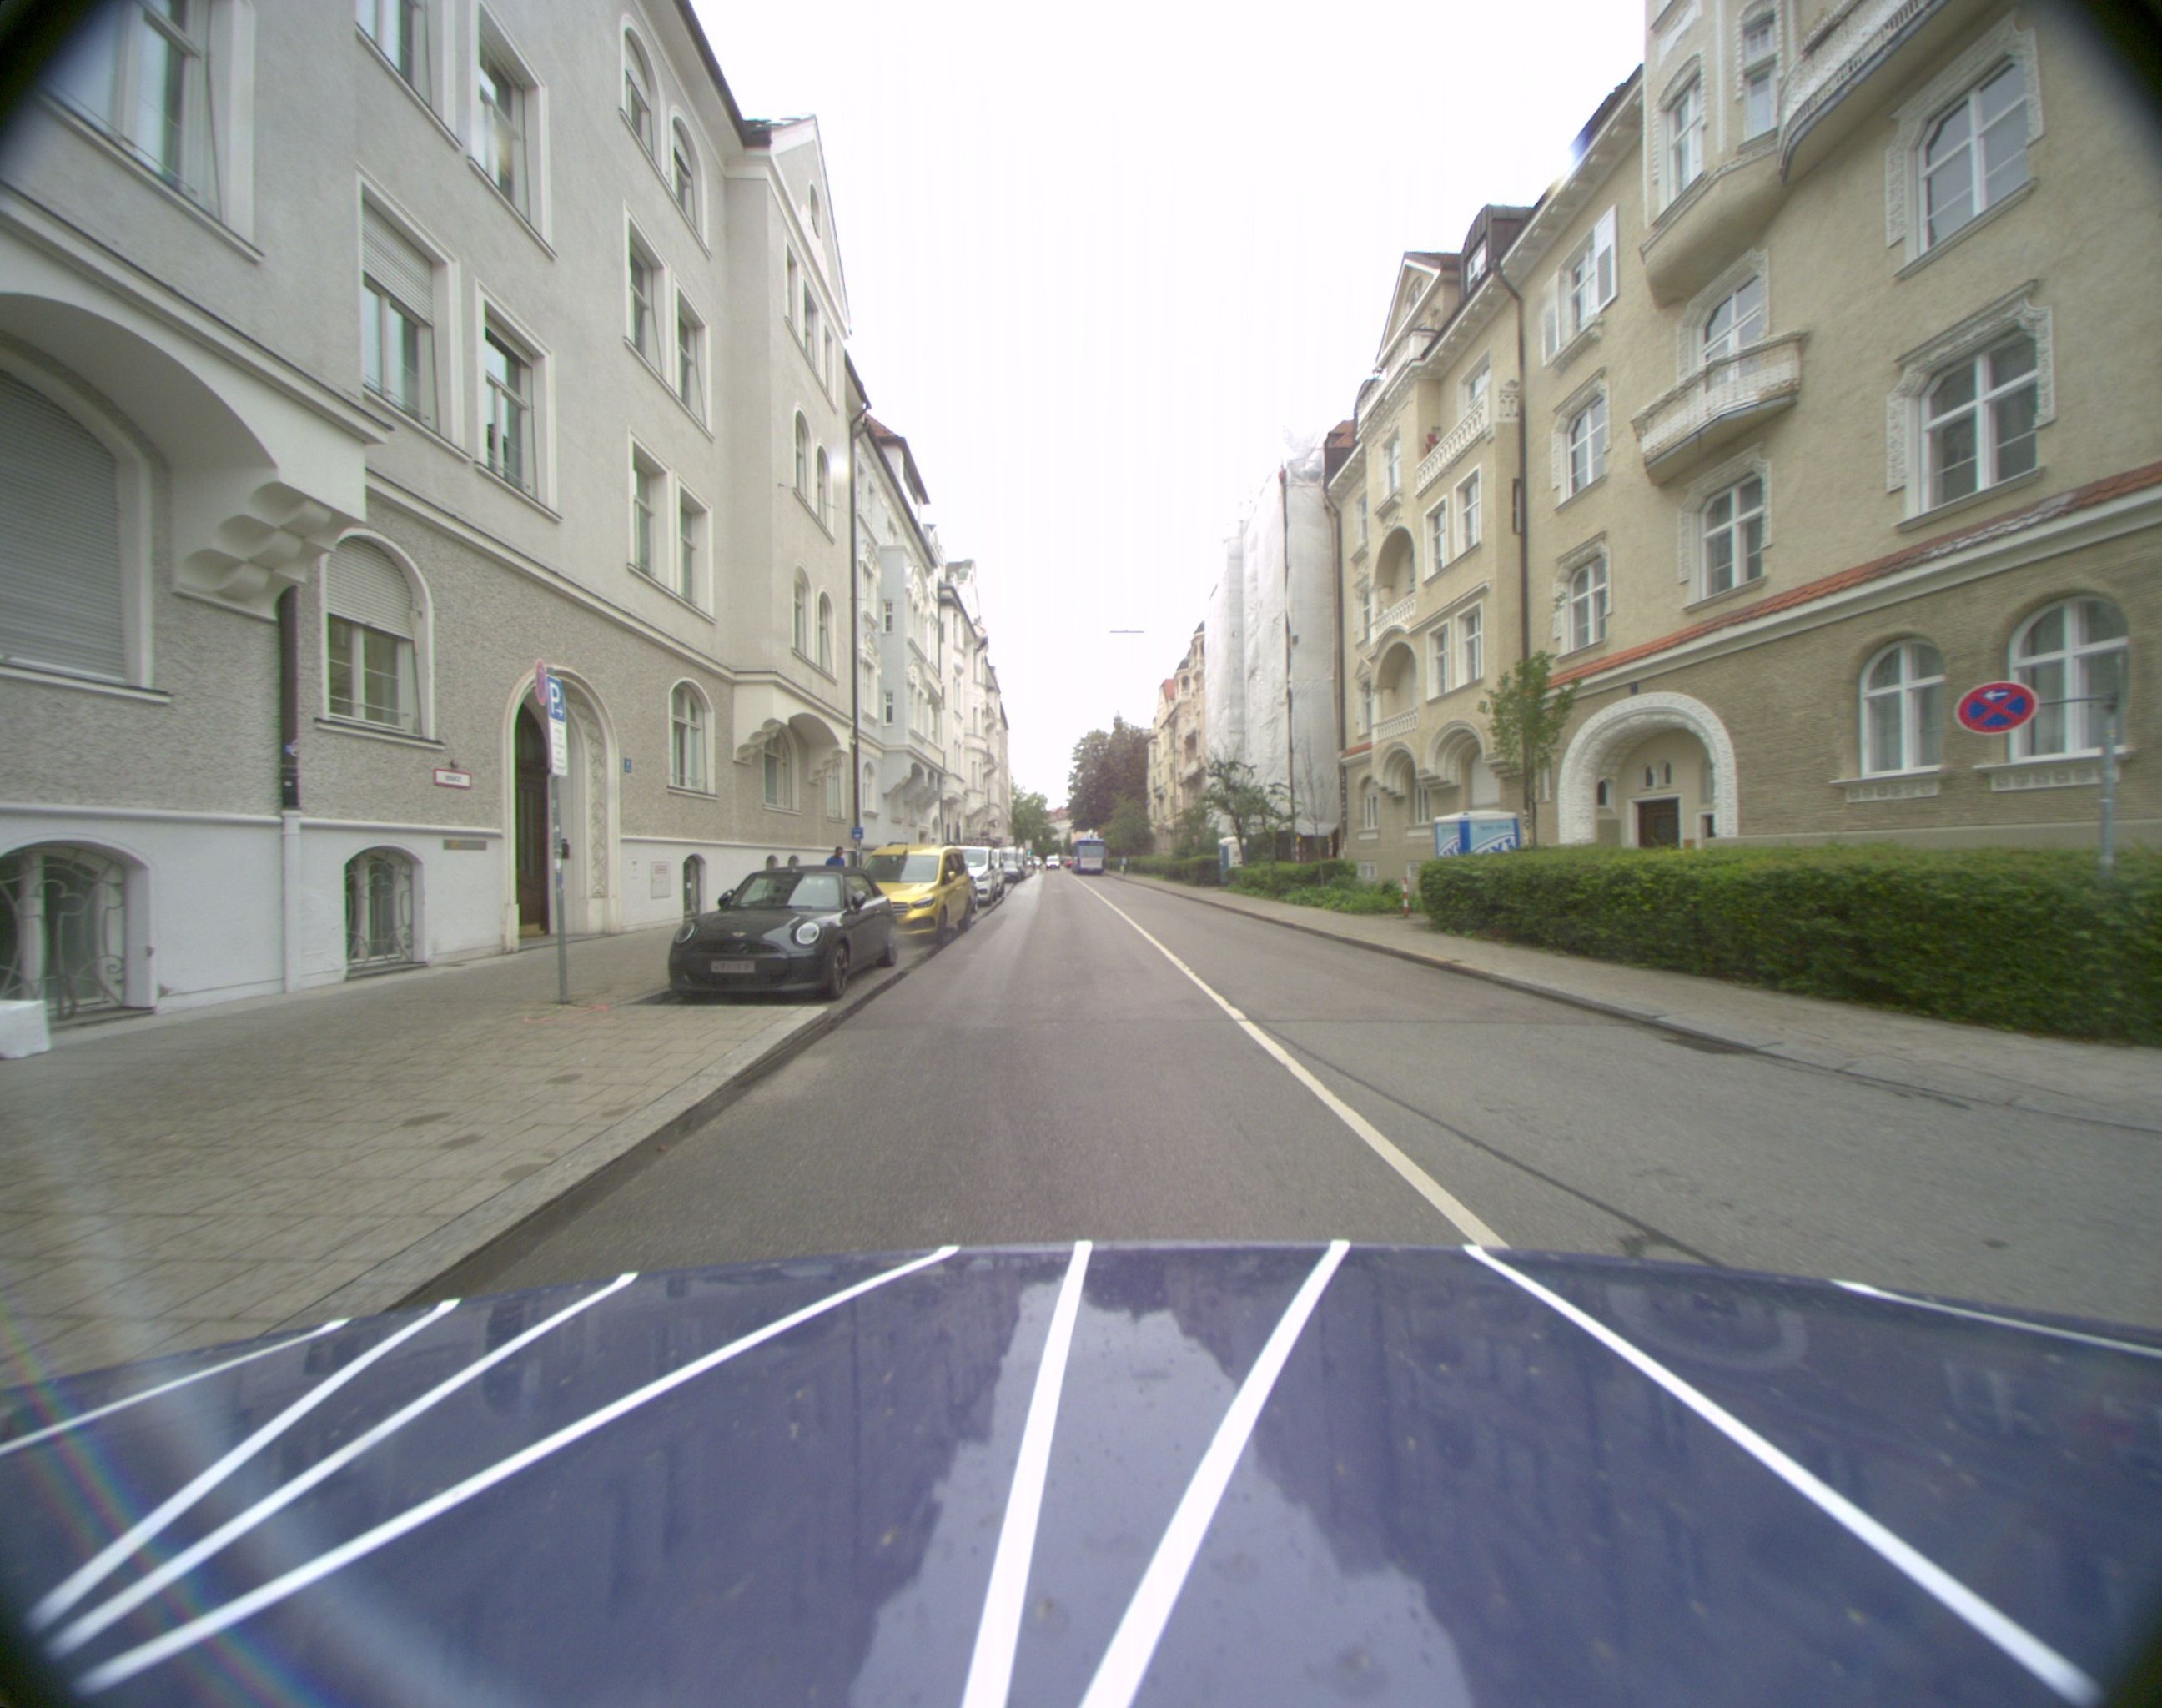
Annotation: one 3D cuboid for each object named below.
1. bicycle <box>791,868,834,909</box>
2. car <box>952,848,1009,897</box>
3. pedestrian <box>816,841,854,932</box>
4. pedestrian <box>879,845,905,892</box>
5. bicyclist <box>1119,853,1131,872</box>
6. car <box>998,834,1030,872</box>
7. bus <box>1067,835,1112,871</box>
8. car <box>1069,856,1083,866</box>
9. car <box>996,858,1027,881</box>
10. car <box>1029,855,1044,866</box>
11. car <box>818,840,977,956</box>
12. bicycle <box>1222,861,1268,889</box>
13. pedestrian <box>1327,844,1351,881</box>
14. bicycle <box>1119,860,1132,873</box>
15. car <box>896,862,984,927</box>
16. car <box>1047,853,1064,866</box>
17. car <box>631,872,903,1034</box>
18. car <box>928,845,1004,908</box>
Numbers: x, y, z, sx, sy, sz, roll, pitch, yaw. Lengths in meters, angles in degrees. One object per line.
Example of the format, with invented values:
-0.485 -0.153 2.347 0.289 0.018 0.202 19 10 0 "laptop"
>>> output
-7.903 0.991 22.424 0.668 1.126 1.722 0 0 -1 "bicycle"
-4.166 0.736 32.279 1.999 1.907 4.876 0 0 -3 "car"
-5.532 0.718 17.121 0.584 2.002 0.727 -1 0 1 "pedestrian"
-7.829 0.597 31.472 0.854 1.892 0.746 0 0 1 "pedestrian"
3.679 0.699 63.546 0.770 1.484 1.060 -2 0 -4 "bicyclist"
-4.981 -0.062 57.202 2.082 2.672 5.443 1 0 -3 "car"
0.631 -0.063 77.276 3.180 3.193 18.050 1 0 -4 "bus"
-0.672 1.031 107.916 1.724 1.398 4.001 0 0 2 "car"
-4.604 1.007 50.749 1.793 1.399 4.243 0 0 -2 "car"
-6.467 0.932 110.017 1.724 1.622 4.001 0 0 2 "car"
-3.335 0.731 14.839 1.999 1.907 4.571 0 0 0 "car"
7.423 0.943 34.443 1.864 1.071 0.690 -5 0 0 "bicycle"
12.308 0.416 36.243 0.771 1.736 0.773 -2 0 -4 "pedestrian"
3.698 1.029 63.573 0.770 1.075 2.049 -2 0 -4 "bicycle"
-3.612 0.976 20.086 1.638 1.505 3.885 -1 0 -1 "car"
-3.332 0.712 99.094 1.919 1.648 4.602 0 0 1 "car"
-3.428 0.982 9.131 1.717 1.436 3.827 0 0 -1 "car"
-3.806 0.697 25.943 1.999 1.907 4.885 0 0 -2 "car"
